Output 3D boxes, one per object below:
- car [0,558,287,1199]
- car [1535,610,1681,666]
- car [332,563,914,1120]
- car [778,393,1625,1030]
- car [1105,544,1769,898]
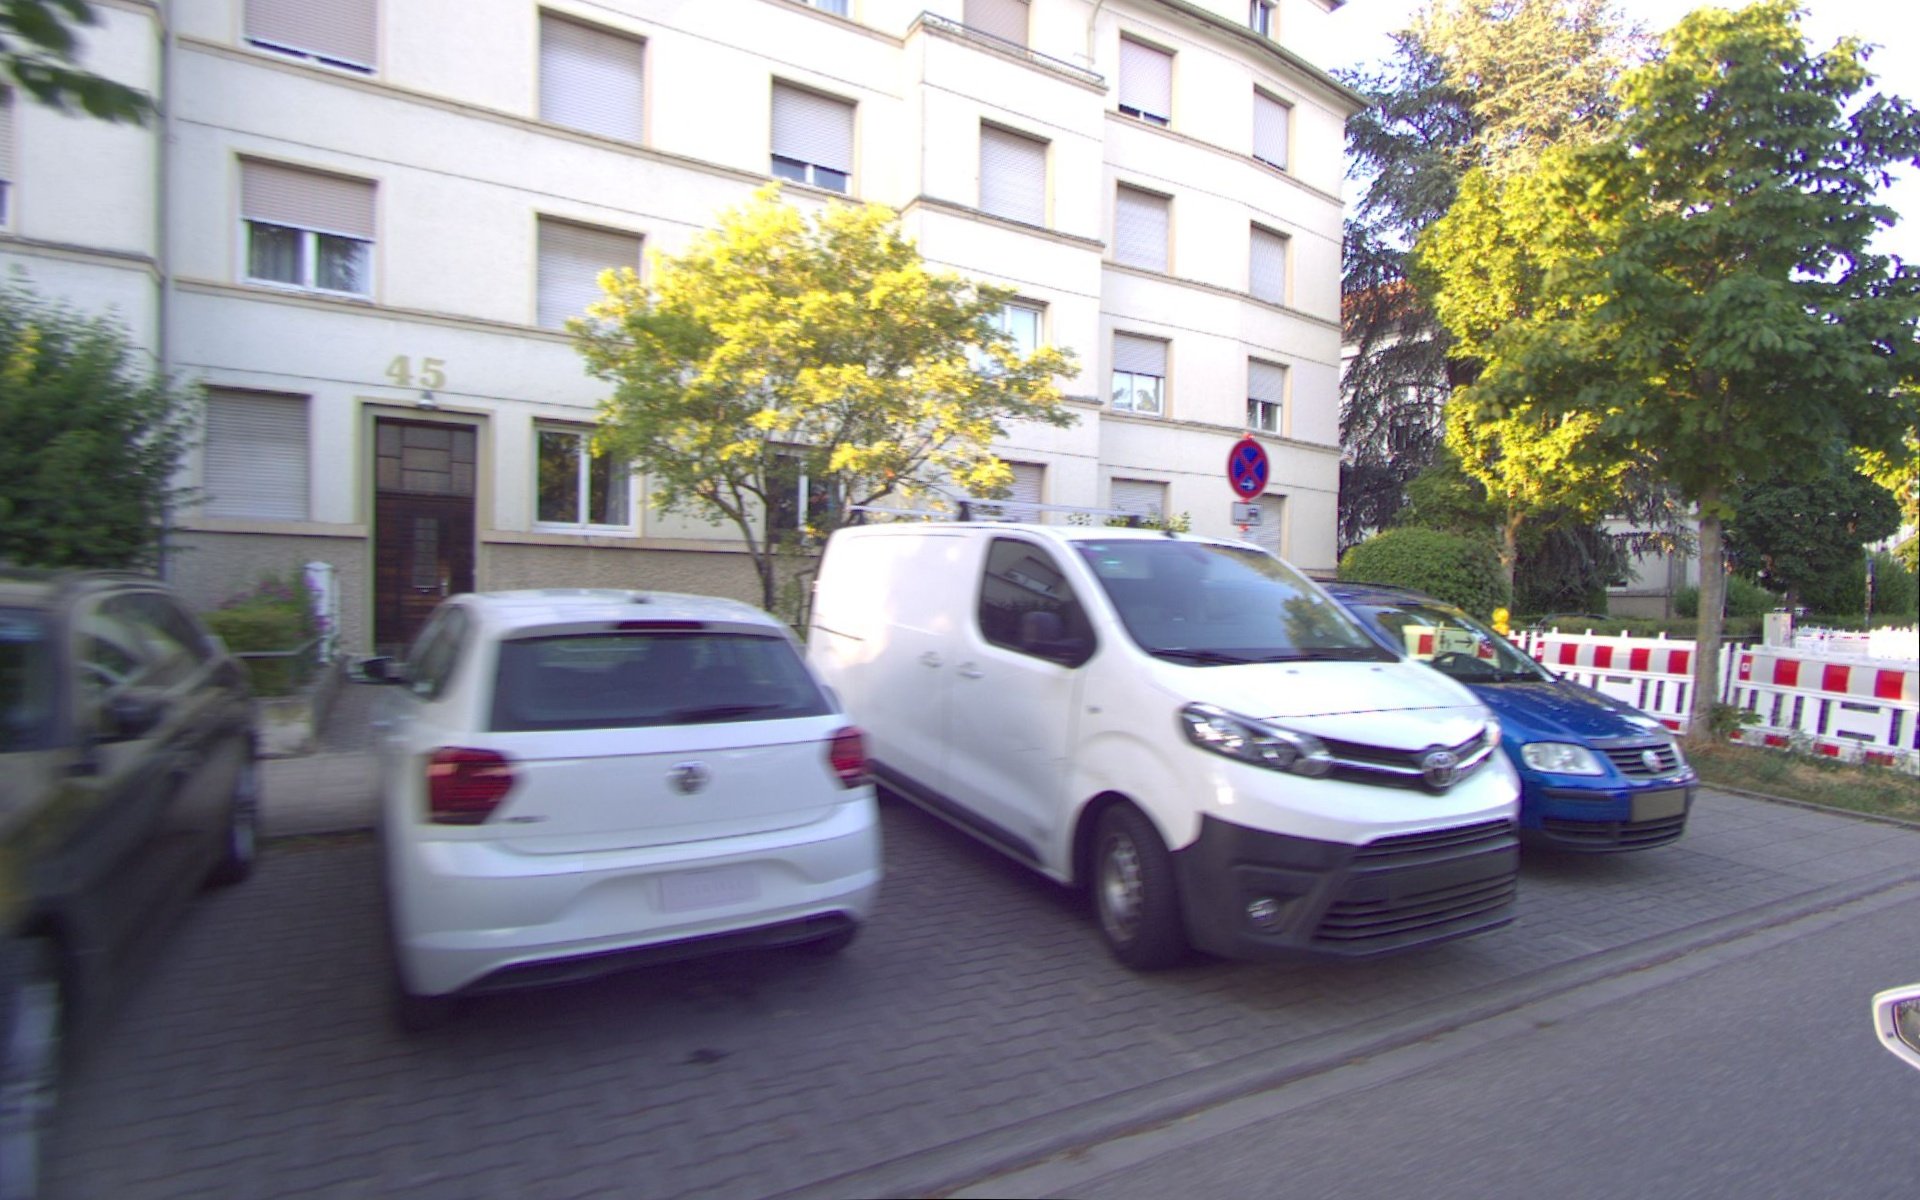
[{"bbox_3d":[-3.441,0.628,3.178,1.859,1.490,4.748,1,1,-30],"label":"car"},{"bbox_3d":[21.312,1.202,33.124,1.748,1.611,3.675,0,1,-40],"label":"car"},{"bbox_3d":[-1.734,0.631,4.621,1.737,1.504,3.399,1,1,-29],"label":"car"},{"bbox_3d":[0.741,0.330,5.777,1.977,2.041,4.747,0,1,-31],"label":"car"},{"bbox_3d":[3.024,0.582,7.206,1.780,1.776,3.964,0,1,-32],"label":"car"}]
